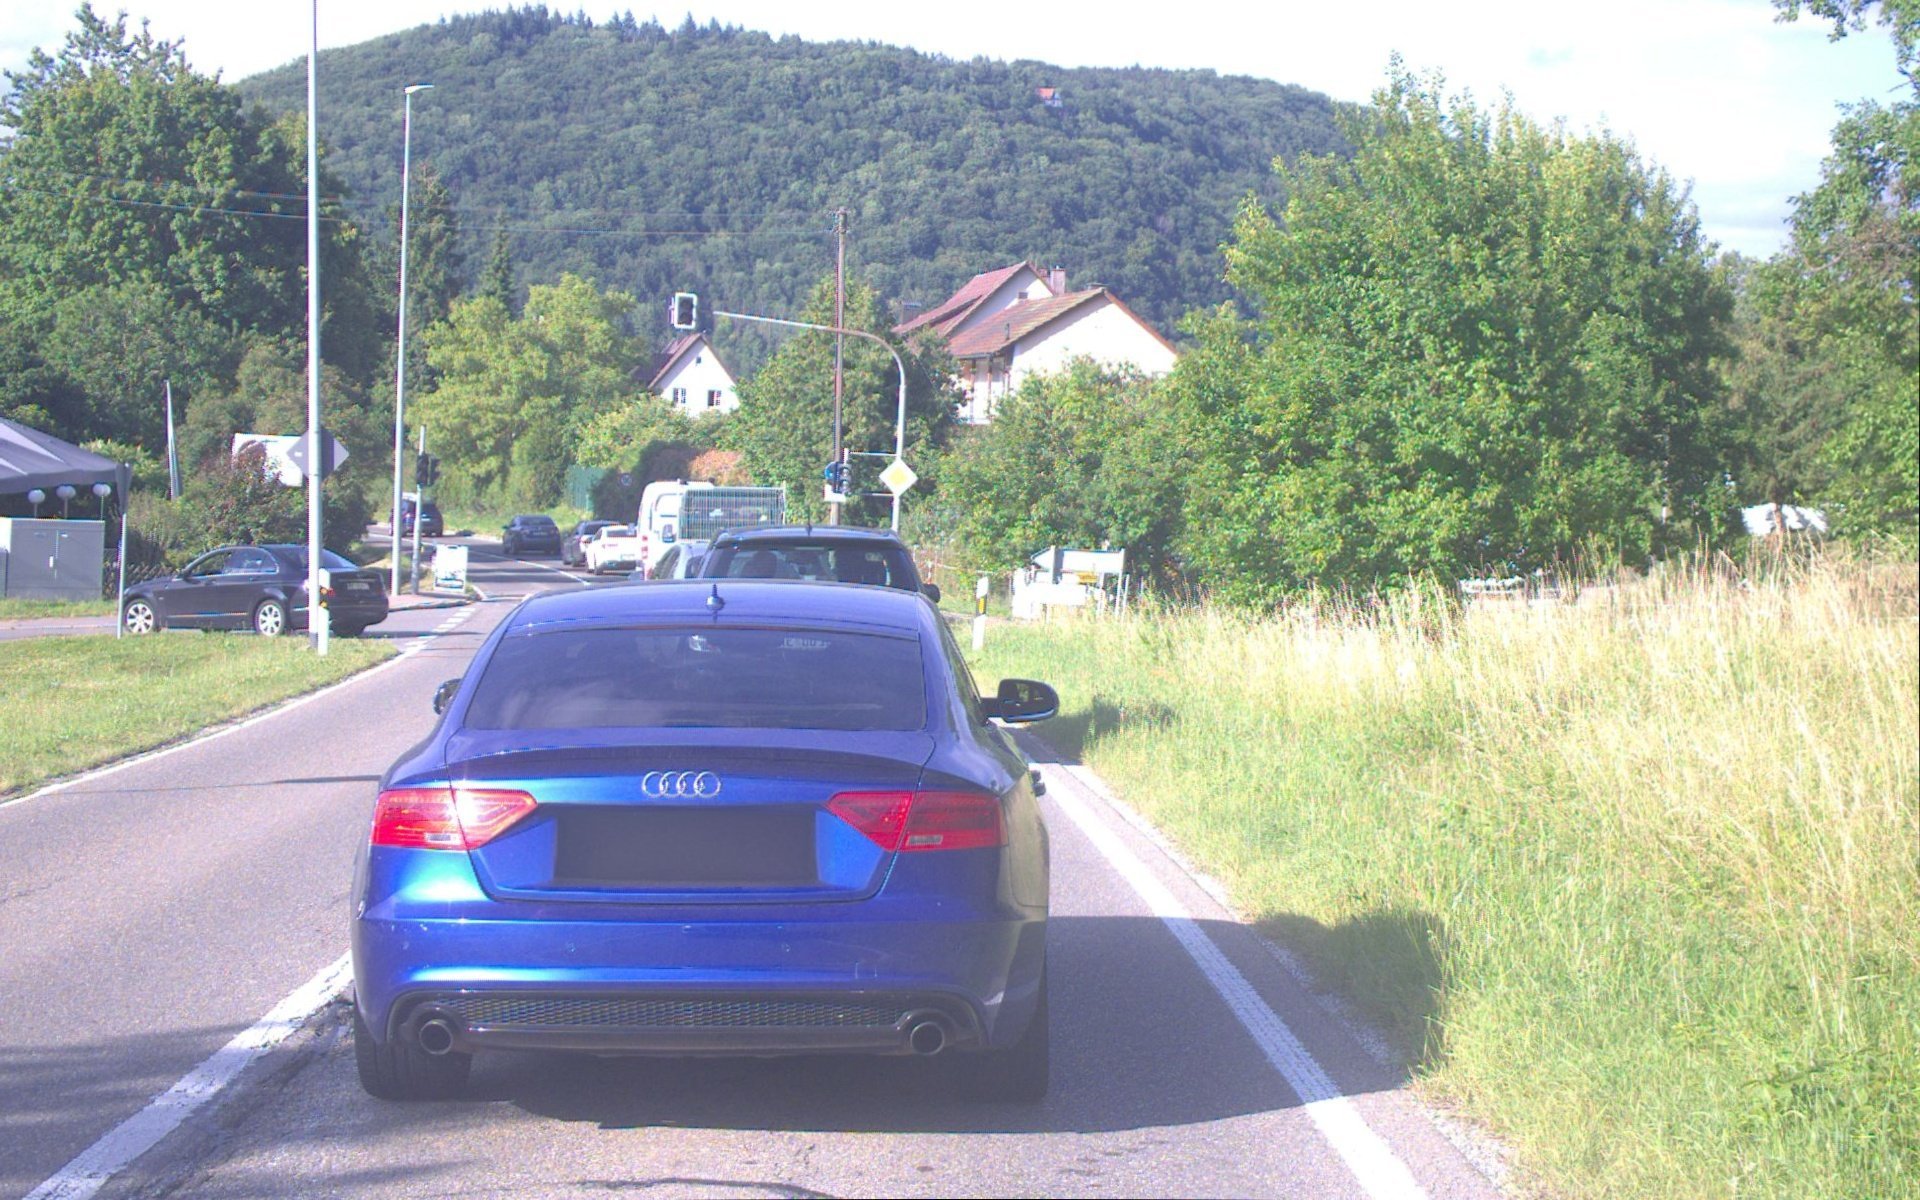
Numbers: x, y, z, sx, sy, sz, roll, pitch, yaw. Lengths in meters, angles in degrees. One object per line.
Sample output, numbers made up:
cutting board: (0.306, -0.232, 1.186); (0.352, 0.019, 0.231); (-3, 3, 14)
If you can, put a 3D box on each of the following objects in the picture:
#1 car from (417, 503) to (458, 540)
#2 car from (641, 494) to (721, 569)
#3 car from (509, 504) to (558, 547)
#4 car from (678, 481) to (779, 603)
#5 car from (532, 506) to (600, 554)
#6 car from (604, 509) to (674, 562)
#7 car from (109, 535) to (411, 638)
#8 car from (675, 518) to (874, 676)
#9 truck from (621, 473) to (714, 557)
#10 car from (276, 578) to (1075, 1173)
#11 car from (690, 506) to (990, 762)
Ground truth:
car: (-23.321, -3.495, 153.400); (1.625, 1.571, 3.680); (1, 0, -11)
car: (-6.383, -1.551, 78.519); (1.746, 1.634, 4.001); (1, 0, -5)
car: (-15.602, -2.706, 125.580); (1.697, 1.485, 3.528); (1, 0, -8)
car: (-4.353, -1.066, 64.196); (1.746, 2.188, 4.001); (1, 0, -5)
car: (-12.471, -2.201, 108.678); (1.697, 1.485, 3.528); (1, 0, -14)
car: (-9.312, -1.849, 99.661); (1.697, 1.485, 3.528); (1, 0, -10)
car: (-10.450, -0.214, 51.349); (3.991, 1.437, 1.918); (1, 0, 20)
car: (-2.011, -0.054, 38.454); (1.805, 1.634, 4.463); (1, 0, 2)
truck: (-7.200, -2.052, 84.157); (1.697, 1.947, 5.924); (1, 0, -10)
car: (-0.608, 0.630, 10.070); (1.795, 1.383, 4.000); (0, 0, 3)
car: (-0.767, 0.204, 24.380); (1.746, 1.634, 4.000); (1, 0, 3)
